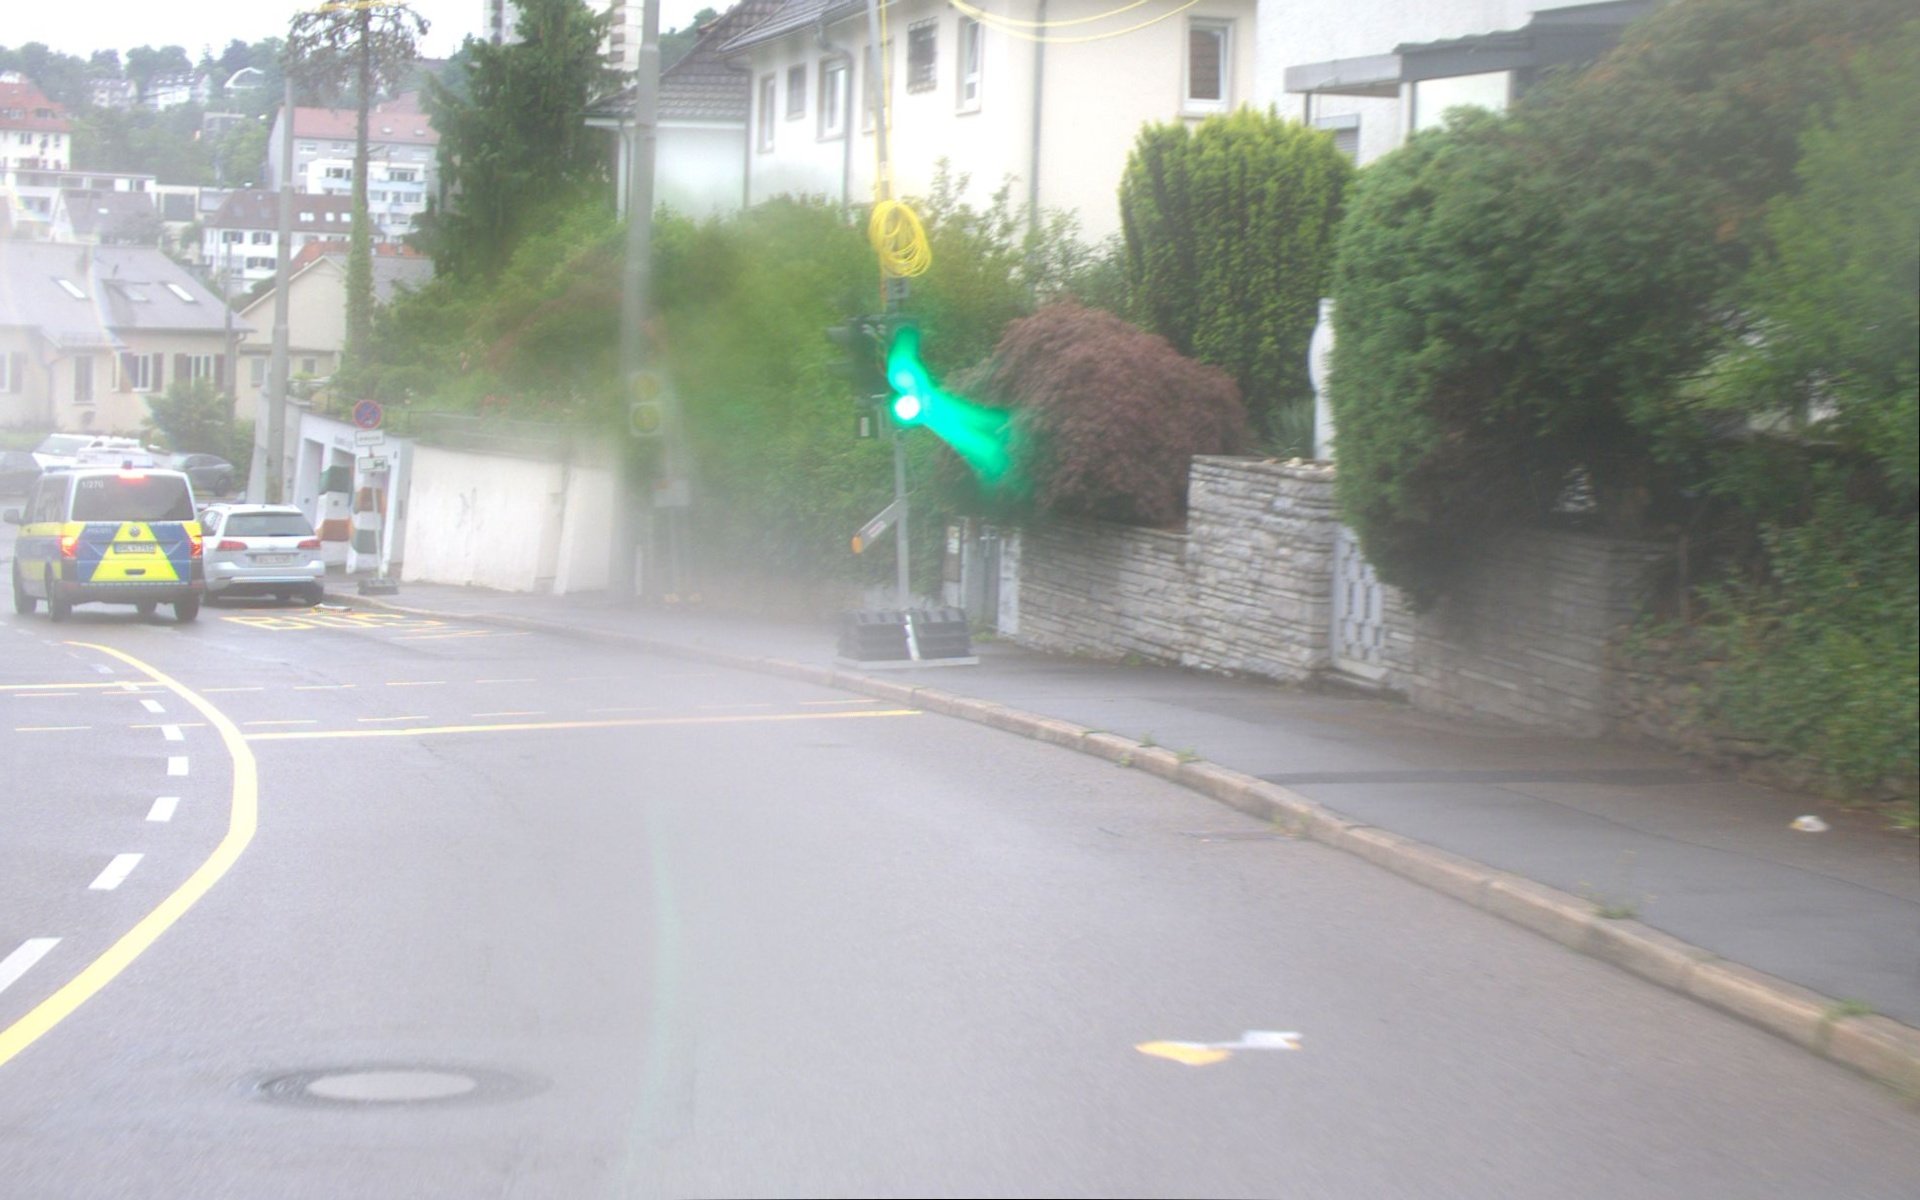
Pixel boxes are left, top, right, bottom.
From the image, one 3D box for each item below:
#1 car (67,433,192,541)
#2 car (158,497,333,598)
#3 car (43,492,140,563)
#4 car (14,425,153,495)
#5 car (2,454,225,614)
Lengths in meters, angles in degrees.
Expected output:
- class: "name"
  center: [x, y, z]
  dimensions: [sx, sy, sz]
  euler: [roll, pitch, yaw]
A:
- class: "car"
  center: [-20.670, -2.812, 85.726]
  dimensions: [2.098, 2.533, 5.621]
  euler: [1, 2, -4]
- class: "car"
  center: [-10.534, -0.808, 50.474]
  dimensions: [1.781, 1.415, 4.431]
  euler: [-1, 2, -22]
- class: "car"
  center: [-20.193, -1.708, 80.045]
  dimensions: [1.753, 1.490, 4.185]
  euler: [1, 2, -9]
- class: "car"
  center: [-28.934, -4.605, 113.606]
  dimensions: [1.850, 2.071, 5.016]
  euler: [5, 3, 19]
- class: "car"
  center: [-11.109, -0.883, 44.904]
  dimensions: [2.308, 1.933, 4.326]
  euler: [-2, 2, -20]
